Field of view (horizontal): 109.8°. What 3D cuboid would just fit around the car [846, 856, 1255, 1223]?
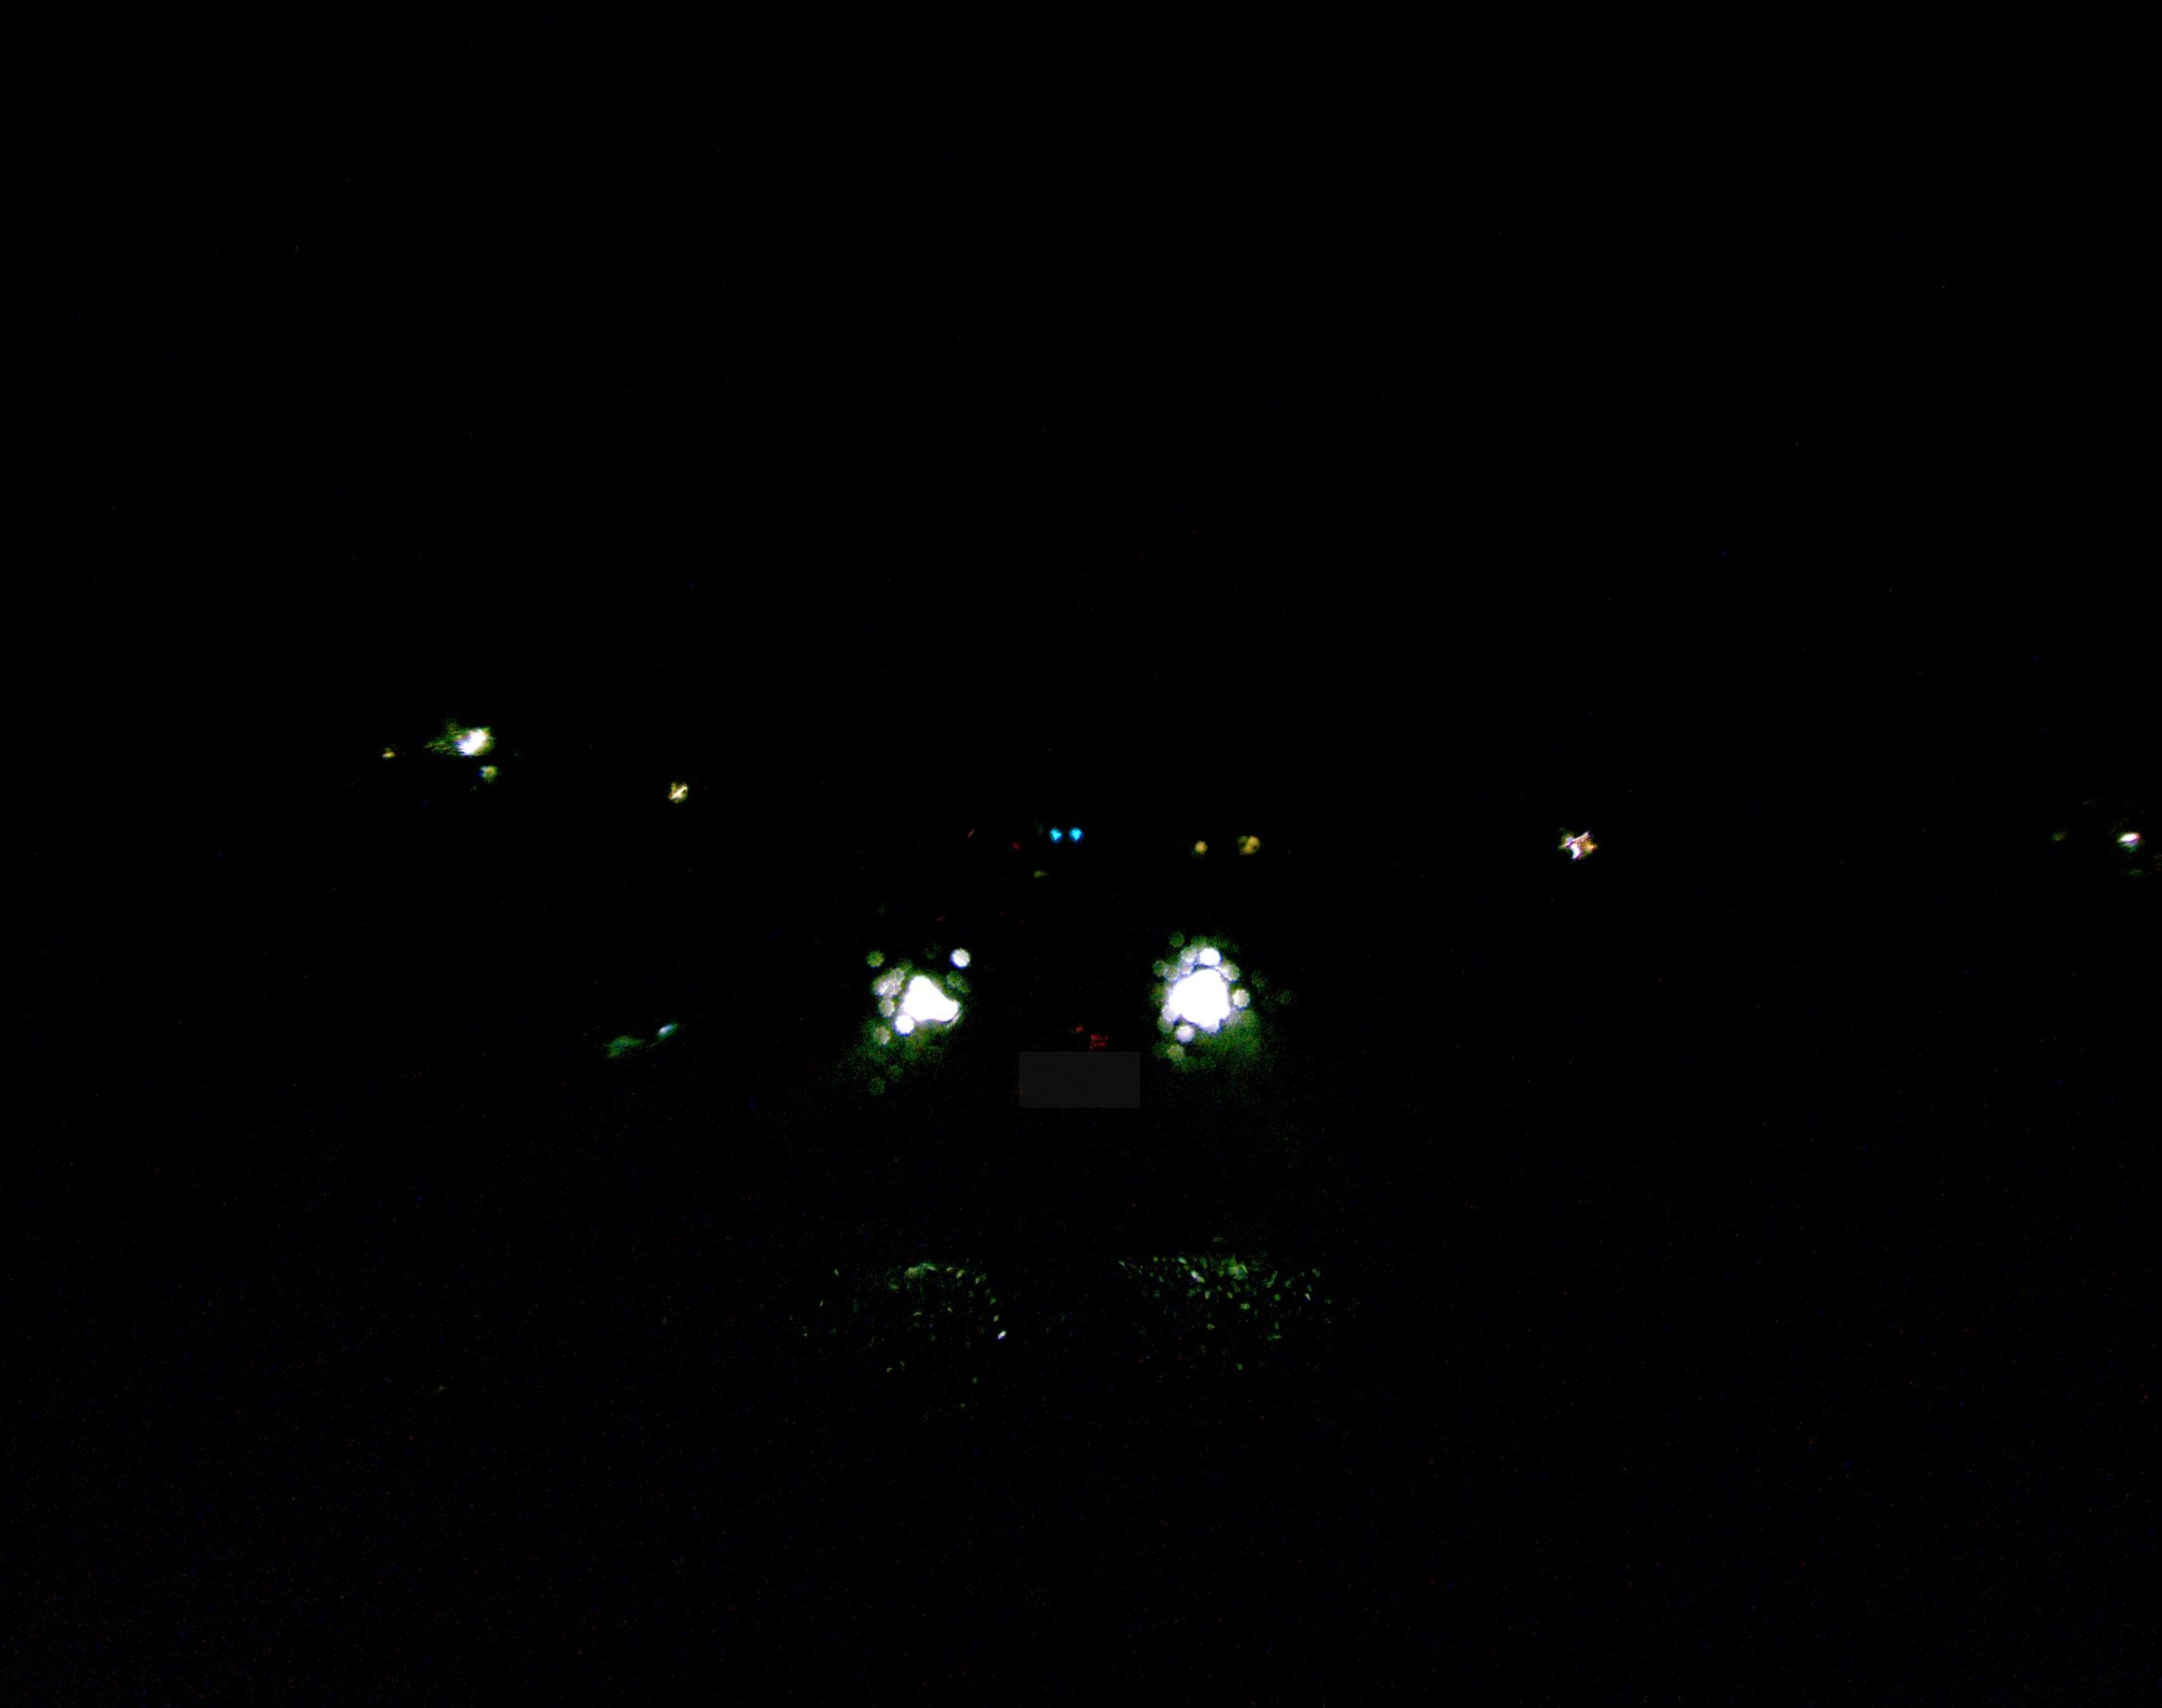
[{"bbox_3d":[-0.109,0.867,5.686,1.826,1.573,4.354,-2,1,1],"label":"car"}]

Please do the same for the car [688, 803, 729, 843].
[{"bbox_3d":[-27.757,-2.267,56.778,1.937,2.759,4.249,-3,1,-16],"label":"car"}]

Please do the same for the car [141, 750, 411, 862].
[{"bbox_3d":[-16.374,-0.904,15.819,2.001,2.002,3.994,-3,1,-16],"label":"car"}]

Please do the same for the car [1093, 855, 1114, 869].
[{"bbox_3d":[2.555,0.954,87.846,1.893,1.559,4.484,-1,-1,-6],"label":"car"}]

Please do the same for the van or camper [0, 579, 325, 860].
[{"bbox_3d":[-12.758,-1.364,9.378,2.417,2.777,5.763,-3,1,-18],"label":"van or camper"}]

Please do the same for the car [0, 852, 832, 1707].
[{"bbox_3d":[-2.554,0.918,2.255,1.839,1.725,4.941,-2,1,1],"label":"car"}]

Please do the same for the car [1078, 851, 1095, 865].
[{"bbox_3d":[0.807,0.565,118.574,2.091,2.002,4.710,-2,1,-6],"label":"car"}]

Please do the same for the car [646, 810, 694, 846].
[{"bbox_3d":[-24.983,-1.561,46.274,1.735,2.002,3.696,-3,1,-16],"label":"car"}]

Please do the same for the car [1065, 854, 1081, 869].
[{"bbox_3d":[-1.196,1.099,109.802,1.999,2.002,3.998,-2,1,-4],"label":"car"}]

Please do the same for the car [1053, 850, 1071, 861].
[{"bbox_3d":[-3.122,0.273,123.945,2.001,1.687,3.995,-2,1,-13],"label":"car"}]

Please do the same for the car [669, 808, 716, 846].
[{"bbox_3d":[-26.303,-1.773,51.573,1.937,2.406,4.249,-3,1,-16],"label":"car"}]

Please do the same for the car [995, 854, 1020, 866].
[{"bbox_3d":[-13.205,1.100,136.287,3.989,2.002,2.004,-2,1,35],"label":"car"}]
